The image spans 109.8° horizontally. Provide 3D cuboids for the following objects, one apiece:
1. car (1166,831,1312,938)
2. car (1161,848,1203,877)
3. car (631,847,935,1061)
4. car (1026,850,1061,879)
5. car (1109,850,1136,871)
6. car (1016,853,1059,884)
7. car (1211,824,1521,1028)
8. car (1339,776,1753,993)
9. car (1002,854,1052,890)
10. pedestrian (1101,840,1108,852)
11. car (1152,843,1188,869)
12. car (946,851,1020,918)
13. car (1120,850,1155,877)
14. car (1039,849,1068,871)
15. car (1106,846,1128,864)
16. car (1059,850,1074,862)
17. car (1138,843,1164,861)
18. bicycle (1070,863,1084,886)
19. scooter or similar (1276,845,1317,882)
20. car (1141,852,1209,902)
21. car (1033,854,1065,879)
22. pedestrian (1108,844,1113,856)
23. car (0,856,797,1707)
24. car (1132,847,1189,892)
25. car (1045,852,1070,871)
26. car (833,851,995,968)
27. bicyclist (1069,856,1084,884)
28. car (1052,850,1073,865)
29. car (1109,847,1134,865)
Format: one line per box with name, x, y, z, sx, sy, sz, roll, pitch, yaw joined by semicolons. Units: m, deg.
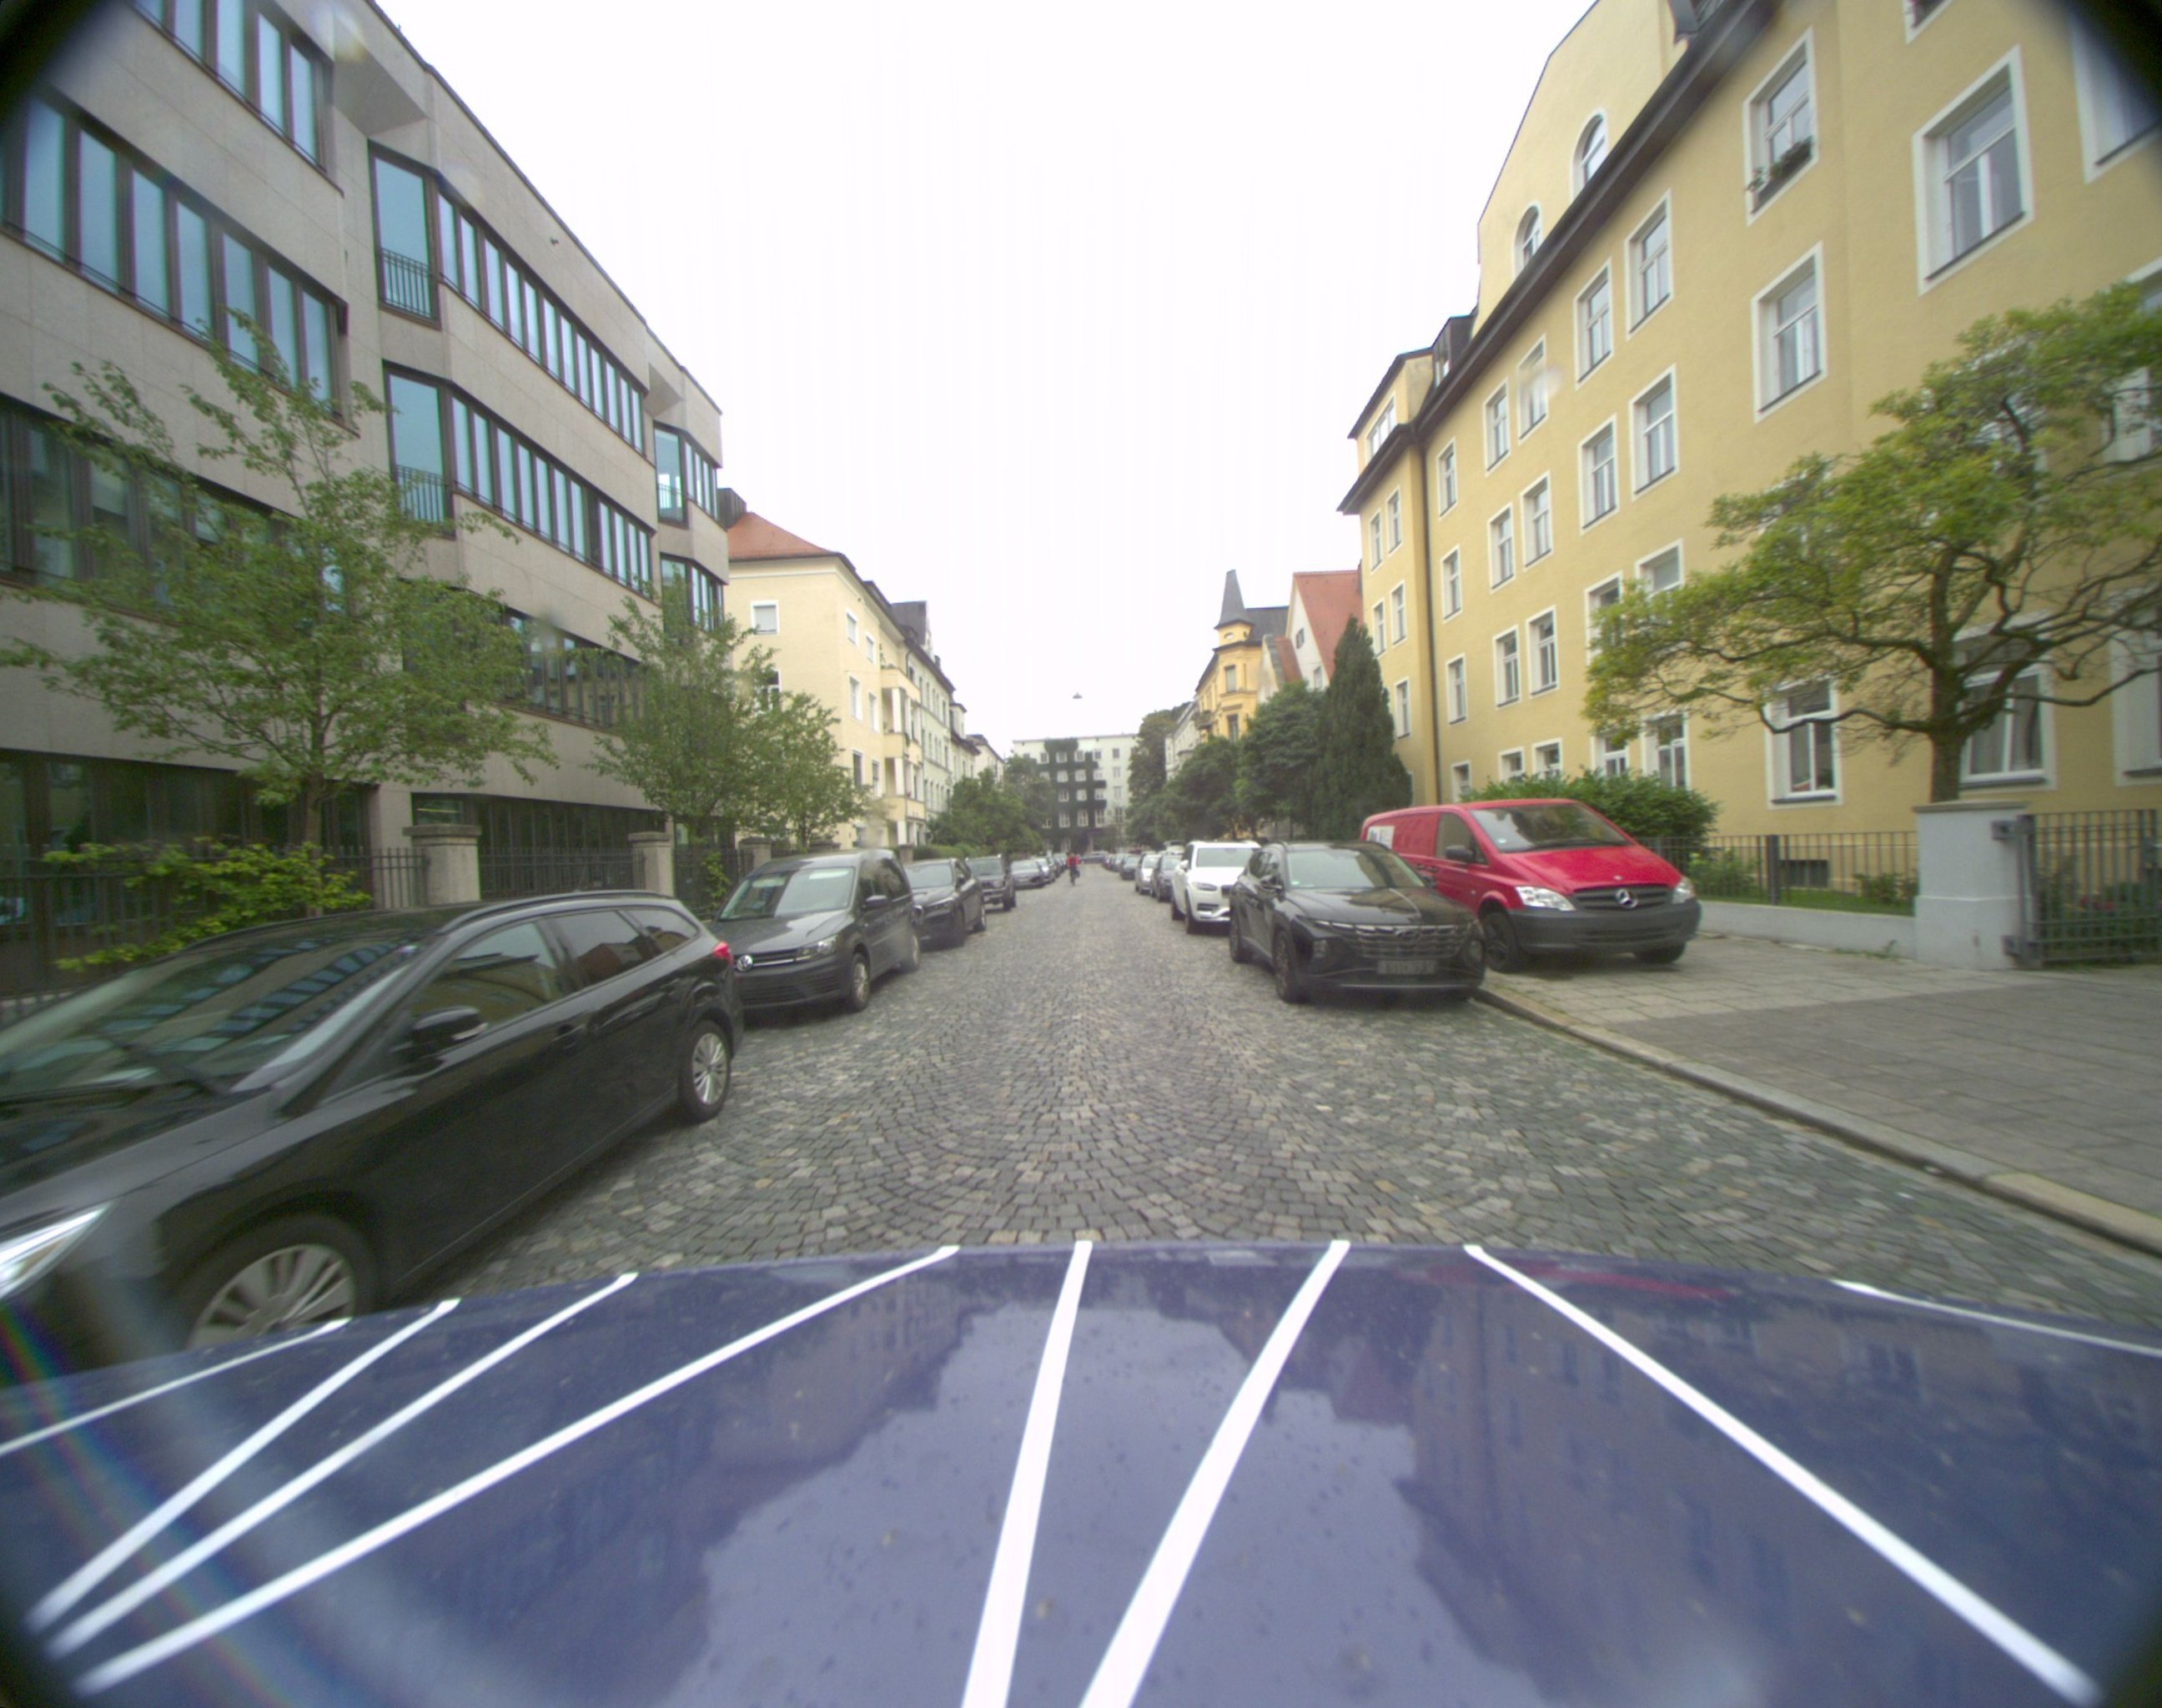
car;2.970;0.493;15.509;2.011;1.798;5.174;-1;1;2
car;5.611;0.415;42.526;1.780;1.408;4.561;-4;1;2
car;-3.200;0.915;9.327;1.793;1.786;4.508;-7;1;-1
car;-2.413;0.659;49.575;1.898;1.644;4.293;-4;1;0
car;3.374;0.526;62.532;1.744;1.577;4.191;-2;1;-2
car;-2.495;0.786;44.643;1.998;1.543;4.986;-5;1;2
car;2.862;0.597;8.946;1.922;1.725;4.755;1;1;1
car;5.356;0.272;9.923;1.999;1.920;5.330;-4;1;0
car;-2.719;0.872;39.420;1.998;1.543;5.014;-5;1;1
pedestrian;3.977;-1.312;128.392;0.703;1.905;0.861;-6;2;-30
car;5.781;0.099;49.677;1.744;1.527;4.466;-4;1;0
car;-2.898;0.849;23.270;1.623;1.741;3.886;-6;1;0
car;3.256;0.488;44.608;1.819;1.447;4.912;-1;1;2
car;-2.151;0.470;60.498;1.887;1.480;4.813;-5;1;1
car;3.519;0.074;74.720;1.846;1.577;4.191;-2;1;-1
car;-1.809;0.261;96.888;1.744;1.367;4.181;-2;1;1
car;6.072;-0.205;66.355;1.846;1.457;4.389;-4;1;1
bicycle;-0.203;1.011;38.396;0.636;1.021;1.955;-4;1;0
scooter or similar;7.781;0.327;27.523;0.958;1.193;1.522;-5;1;1
car;2.914;0.671;24.278;1.734;1.410;3.936;-1;1;1
car;-2.250;0.846;54.781;1.823;1.480;5.049;-6;1;1
pedestrian;5.039;-0.674;128.618;0.701;1.905;0.862;-5;2;3
car;-3.210;1.004;3.472;1.878;1.725;4.658;-7;1;0
car;2.940;0.530;28.882;1.718;1.553;4.390;-1;1;1
car;-2.178;0.658;70.863;1.909;1.494;5.105;-6;1;1
car;-2.982;0.892;14.765;1.865;1.692;4.813;-6;1;1
bicyclist;-0.213;0.783;38.286;0.648;1.350;0.656;-4;1;0
car;-2.069;0.327;86.166;1.942;1.457;4.532;-5;1;3
car;3.619;0.173;68.945;1.875;1.462;5.132;-2;1;-1
